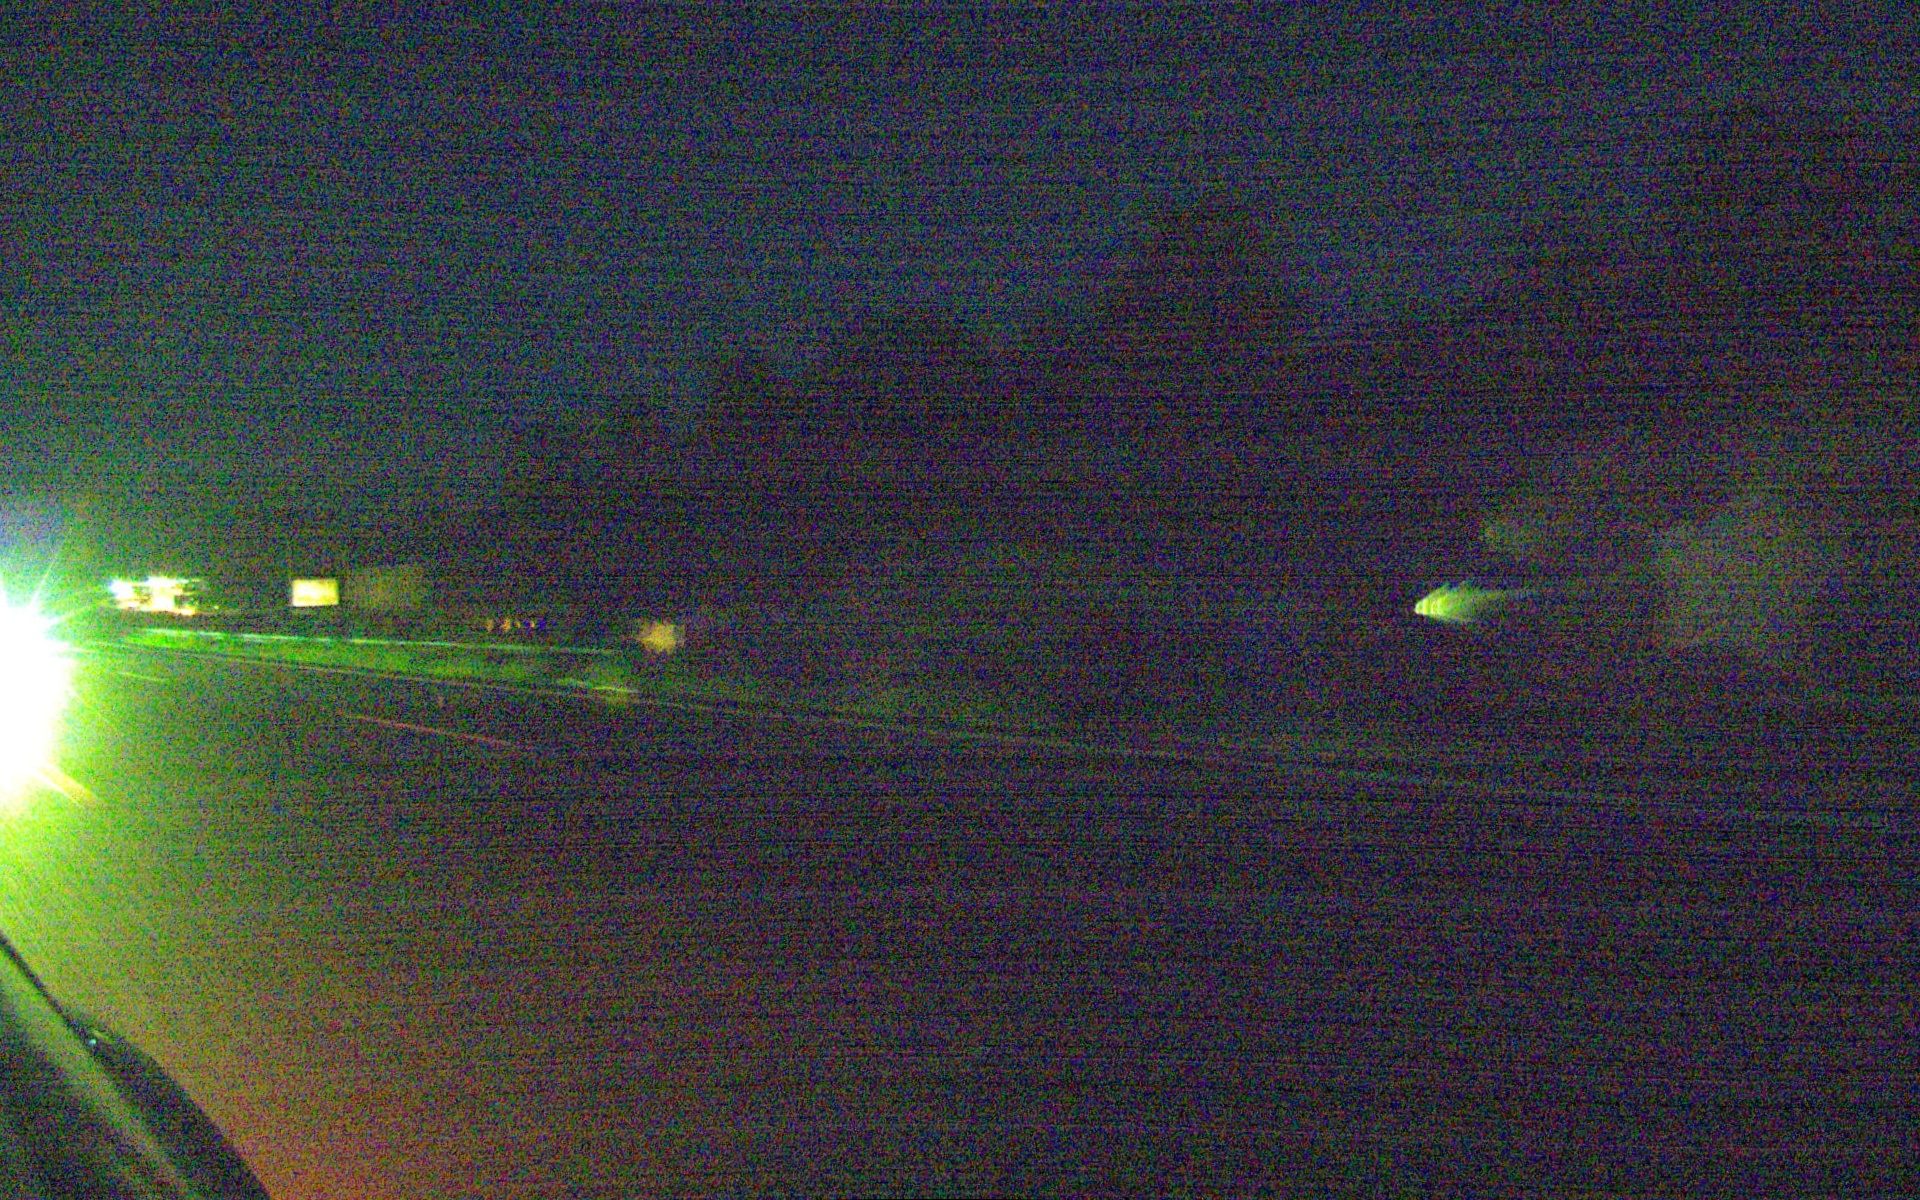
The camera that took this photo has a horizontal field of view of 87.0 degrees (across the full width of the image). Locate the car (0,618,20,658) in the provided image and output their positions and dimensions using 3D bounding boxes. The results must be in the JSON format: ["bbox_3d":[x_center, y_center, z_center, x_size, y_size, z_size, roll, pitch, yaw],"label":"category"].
[{"bbox_3d":[-37.136,1.453,38.559,1.807,1.423,4.003,-1,1,-44],"label":"car"}]

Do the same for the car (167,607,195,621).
[{"bbox_3d":[-103.532,1.871,134.552,4.515,1.890,2.370,-1,-1,45],"label":"car"}]

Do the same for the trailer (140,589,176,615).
[{"bbox_3d":[-134.686,0.312,169.803,3.556,4.121,14.137,0,0,-43],"label":"trailer"}]

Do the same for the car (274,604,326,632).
[{"bbox_3d":[-45.180,1.247,69.235,4.075,1.868,1.973,-1,-1,41],"label":"car"}]
